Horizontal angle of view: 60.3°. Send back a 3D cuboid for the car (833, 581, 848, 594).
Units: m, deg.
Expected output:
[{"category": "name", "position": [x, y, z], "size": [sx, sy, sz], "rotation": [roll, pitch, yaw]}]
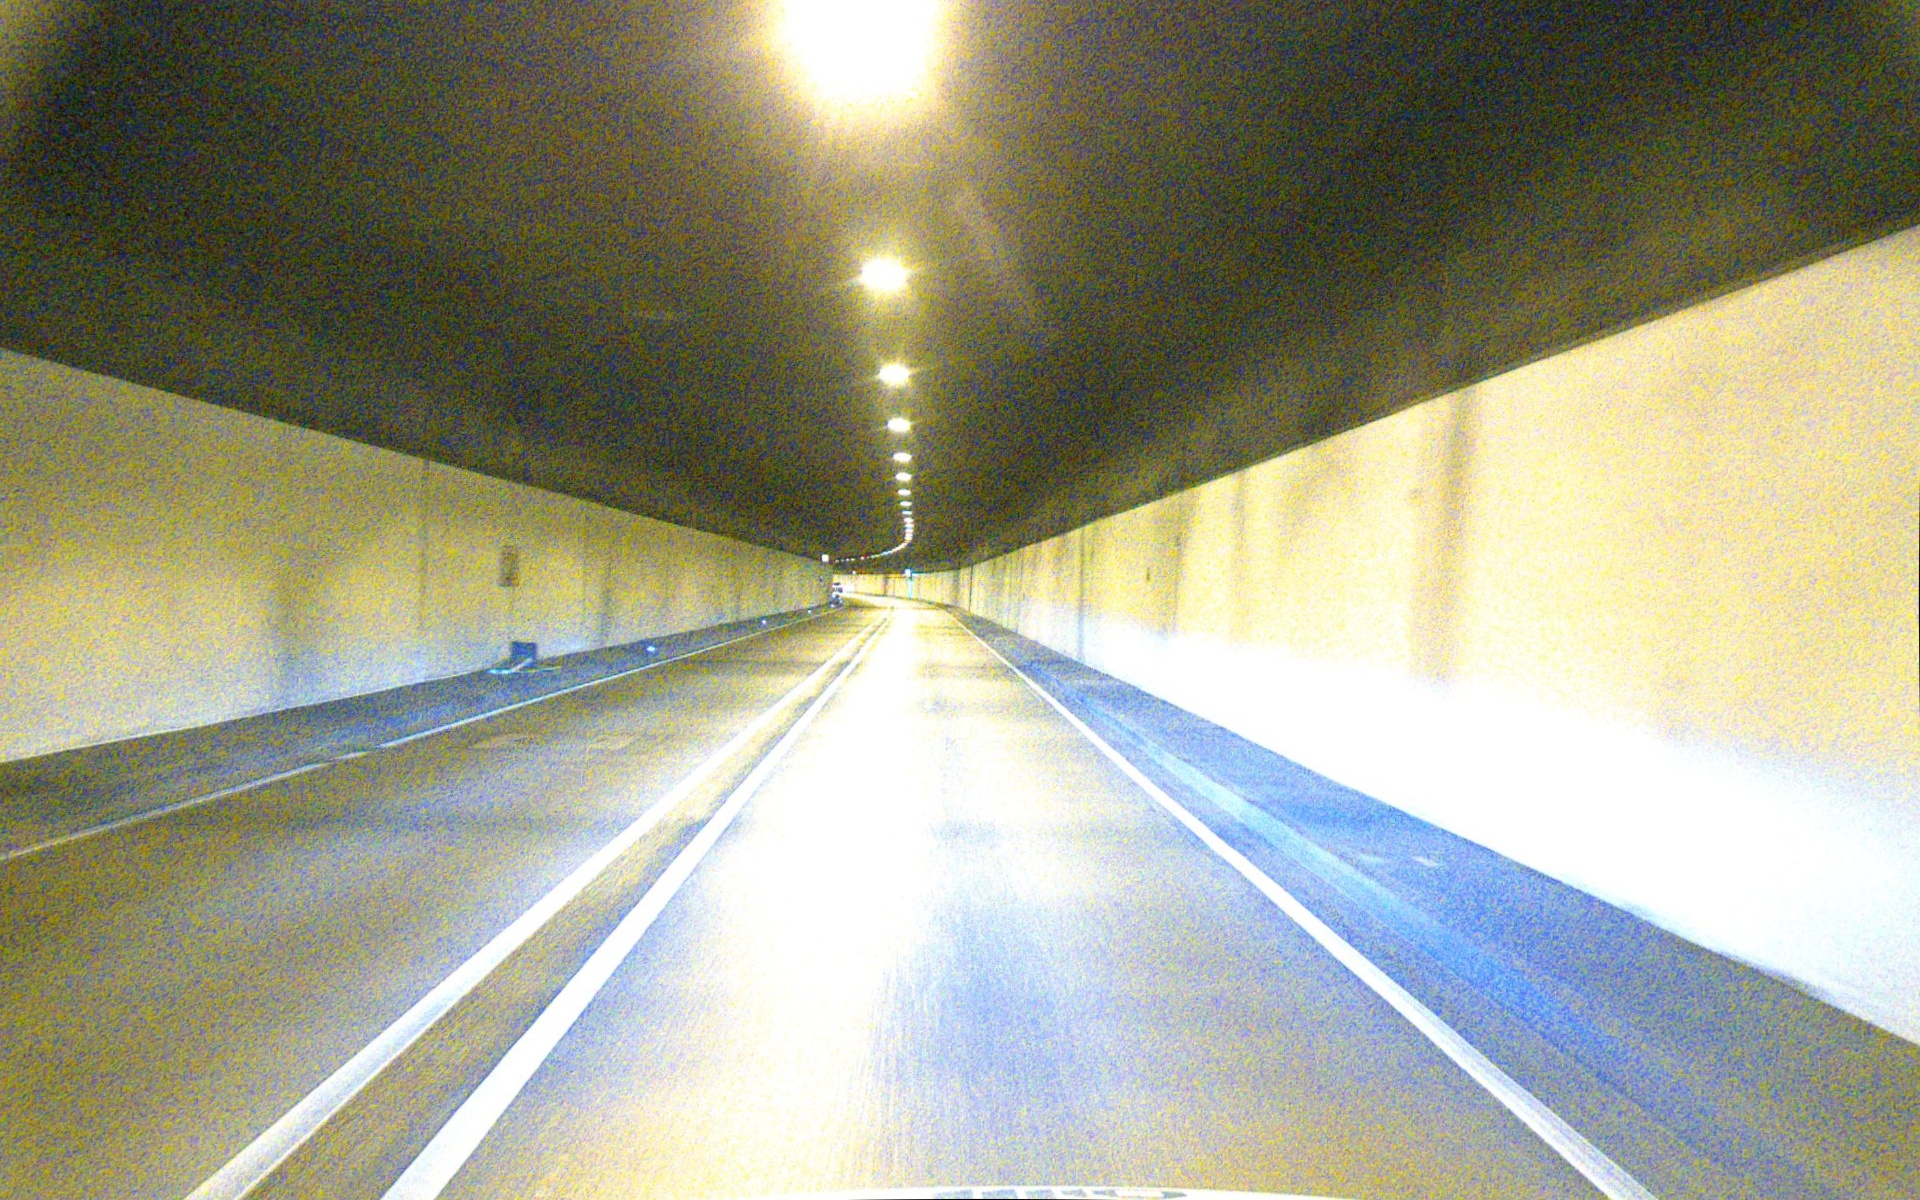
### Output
[{"category": "car", "position": [-18.395, -1.911, 253.980], "size": [1.930, 1.972, 4.604], "rotation": [2, 0, -8]}]
